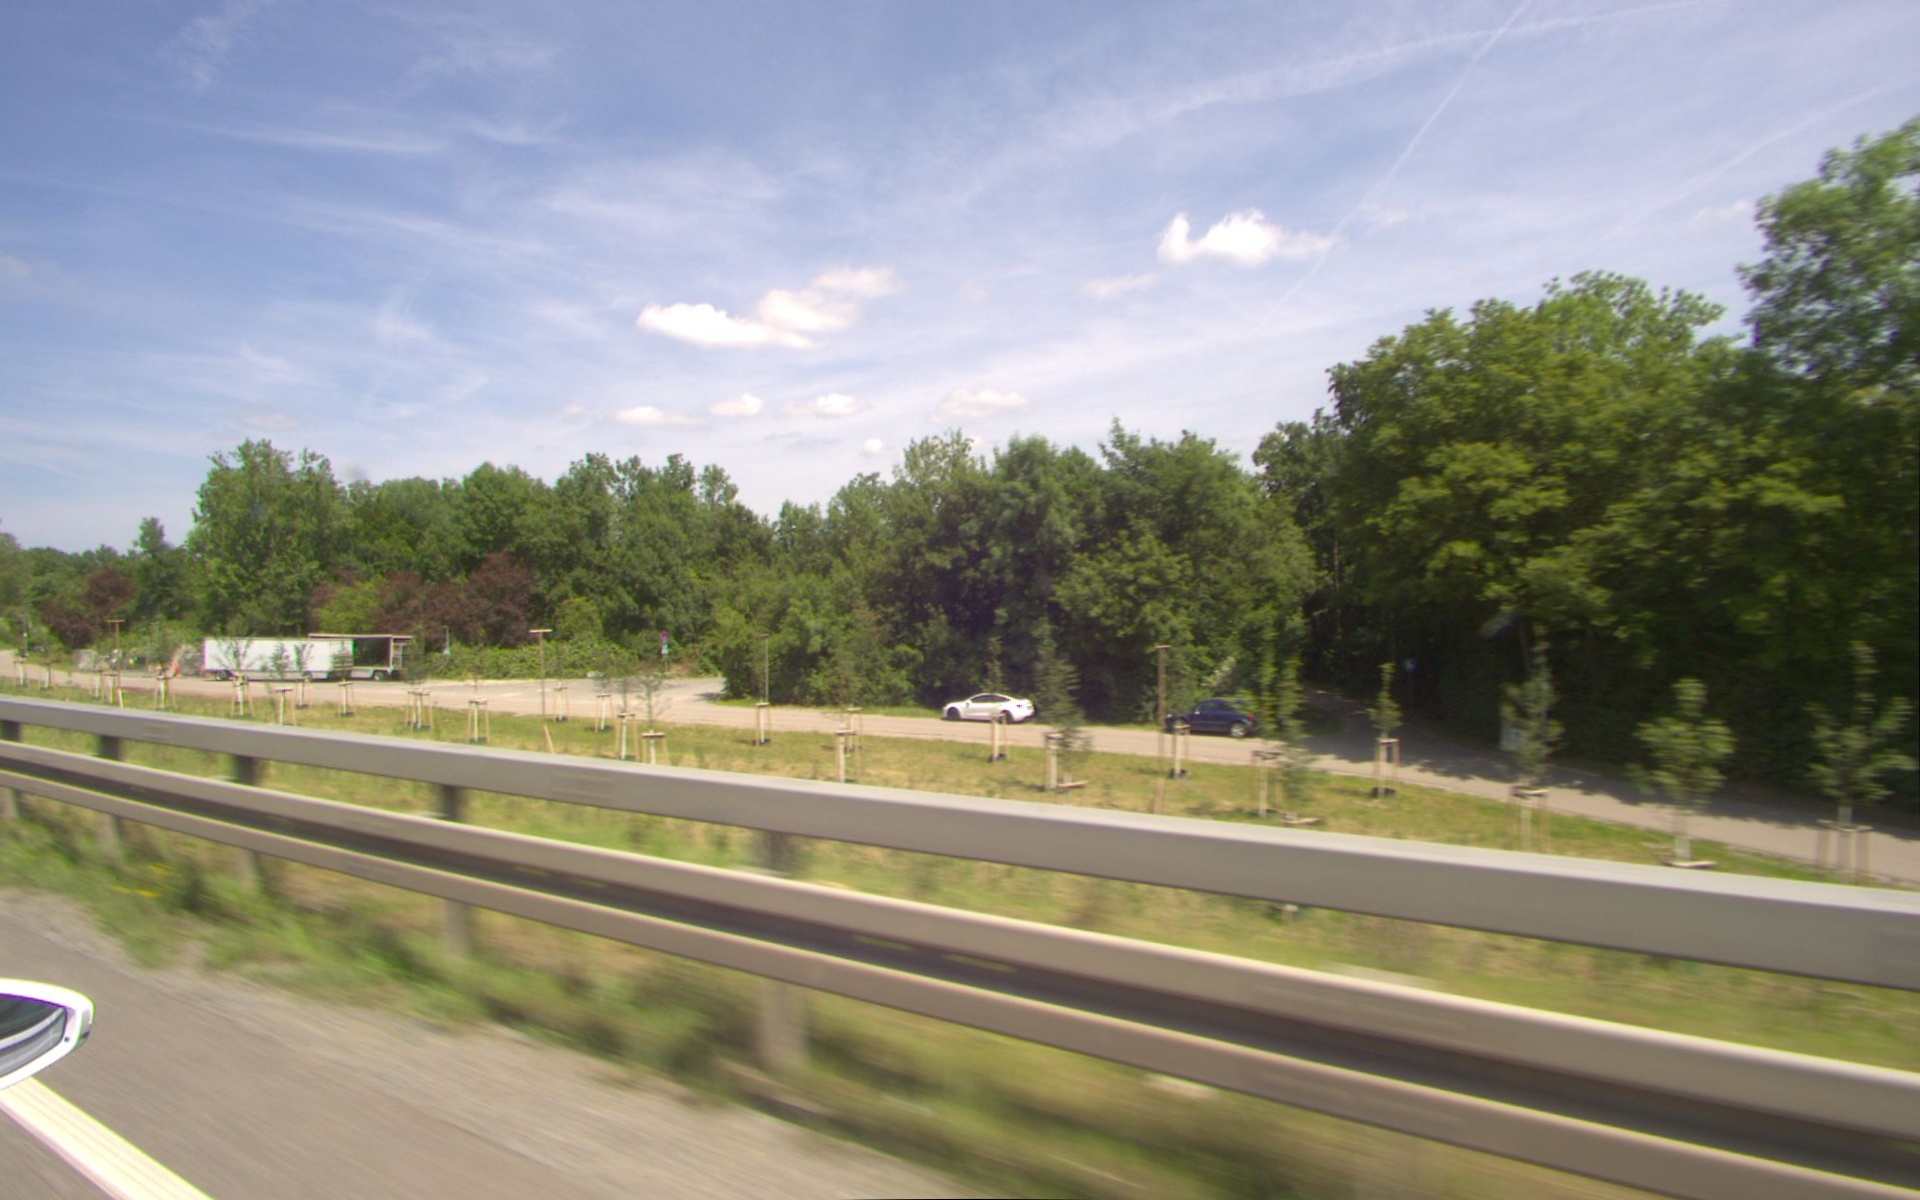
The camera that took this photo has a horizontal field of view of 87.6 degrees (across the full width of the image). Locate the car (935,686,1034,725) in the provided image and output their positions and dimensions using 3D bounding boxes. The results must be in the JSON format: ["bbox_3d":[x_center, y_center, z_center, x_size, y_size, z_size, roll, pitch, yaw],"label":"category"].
[{"bbox_3d":[1.200,5.174,49.449,4.534,1.503,1.855,0,3,27],"label":"car"}]

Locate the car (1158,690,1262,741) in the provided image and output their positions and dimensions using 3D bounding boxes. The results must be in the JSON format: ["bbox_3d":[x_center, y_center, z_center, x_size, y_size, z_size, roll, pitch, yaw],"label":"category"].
[{"bbox_3d":[11.042,5.057,44.275,4.135,1.706,1.854,1,3,29],"label":"car"}]

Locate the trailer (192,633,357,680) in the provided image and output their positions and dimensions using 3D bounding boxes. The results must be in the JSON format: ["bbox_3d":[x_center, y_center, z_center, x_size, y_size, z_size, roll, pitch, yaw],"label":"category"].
[{"bbox_3d":[-52.715,4.278,77.063,11.665,3.371,2.727,0,-1,7],"label":"trailer"}]

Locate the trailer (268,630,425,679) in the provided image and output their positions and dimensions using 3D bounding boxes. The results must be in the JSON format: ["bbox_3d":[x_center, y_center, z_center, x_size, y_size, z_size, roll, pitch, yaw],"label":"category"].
[{"bbox_3d":[-48.689,4.277,79.547,11.667,3.652,2.727,0,-1,9],"label":"trailer"}]
